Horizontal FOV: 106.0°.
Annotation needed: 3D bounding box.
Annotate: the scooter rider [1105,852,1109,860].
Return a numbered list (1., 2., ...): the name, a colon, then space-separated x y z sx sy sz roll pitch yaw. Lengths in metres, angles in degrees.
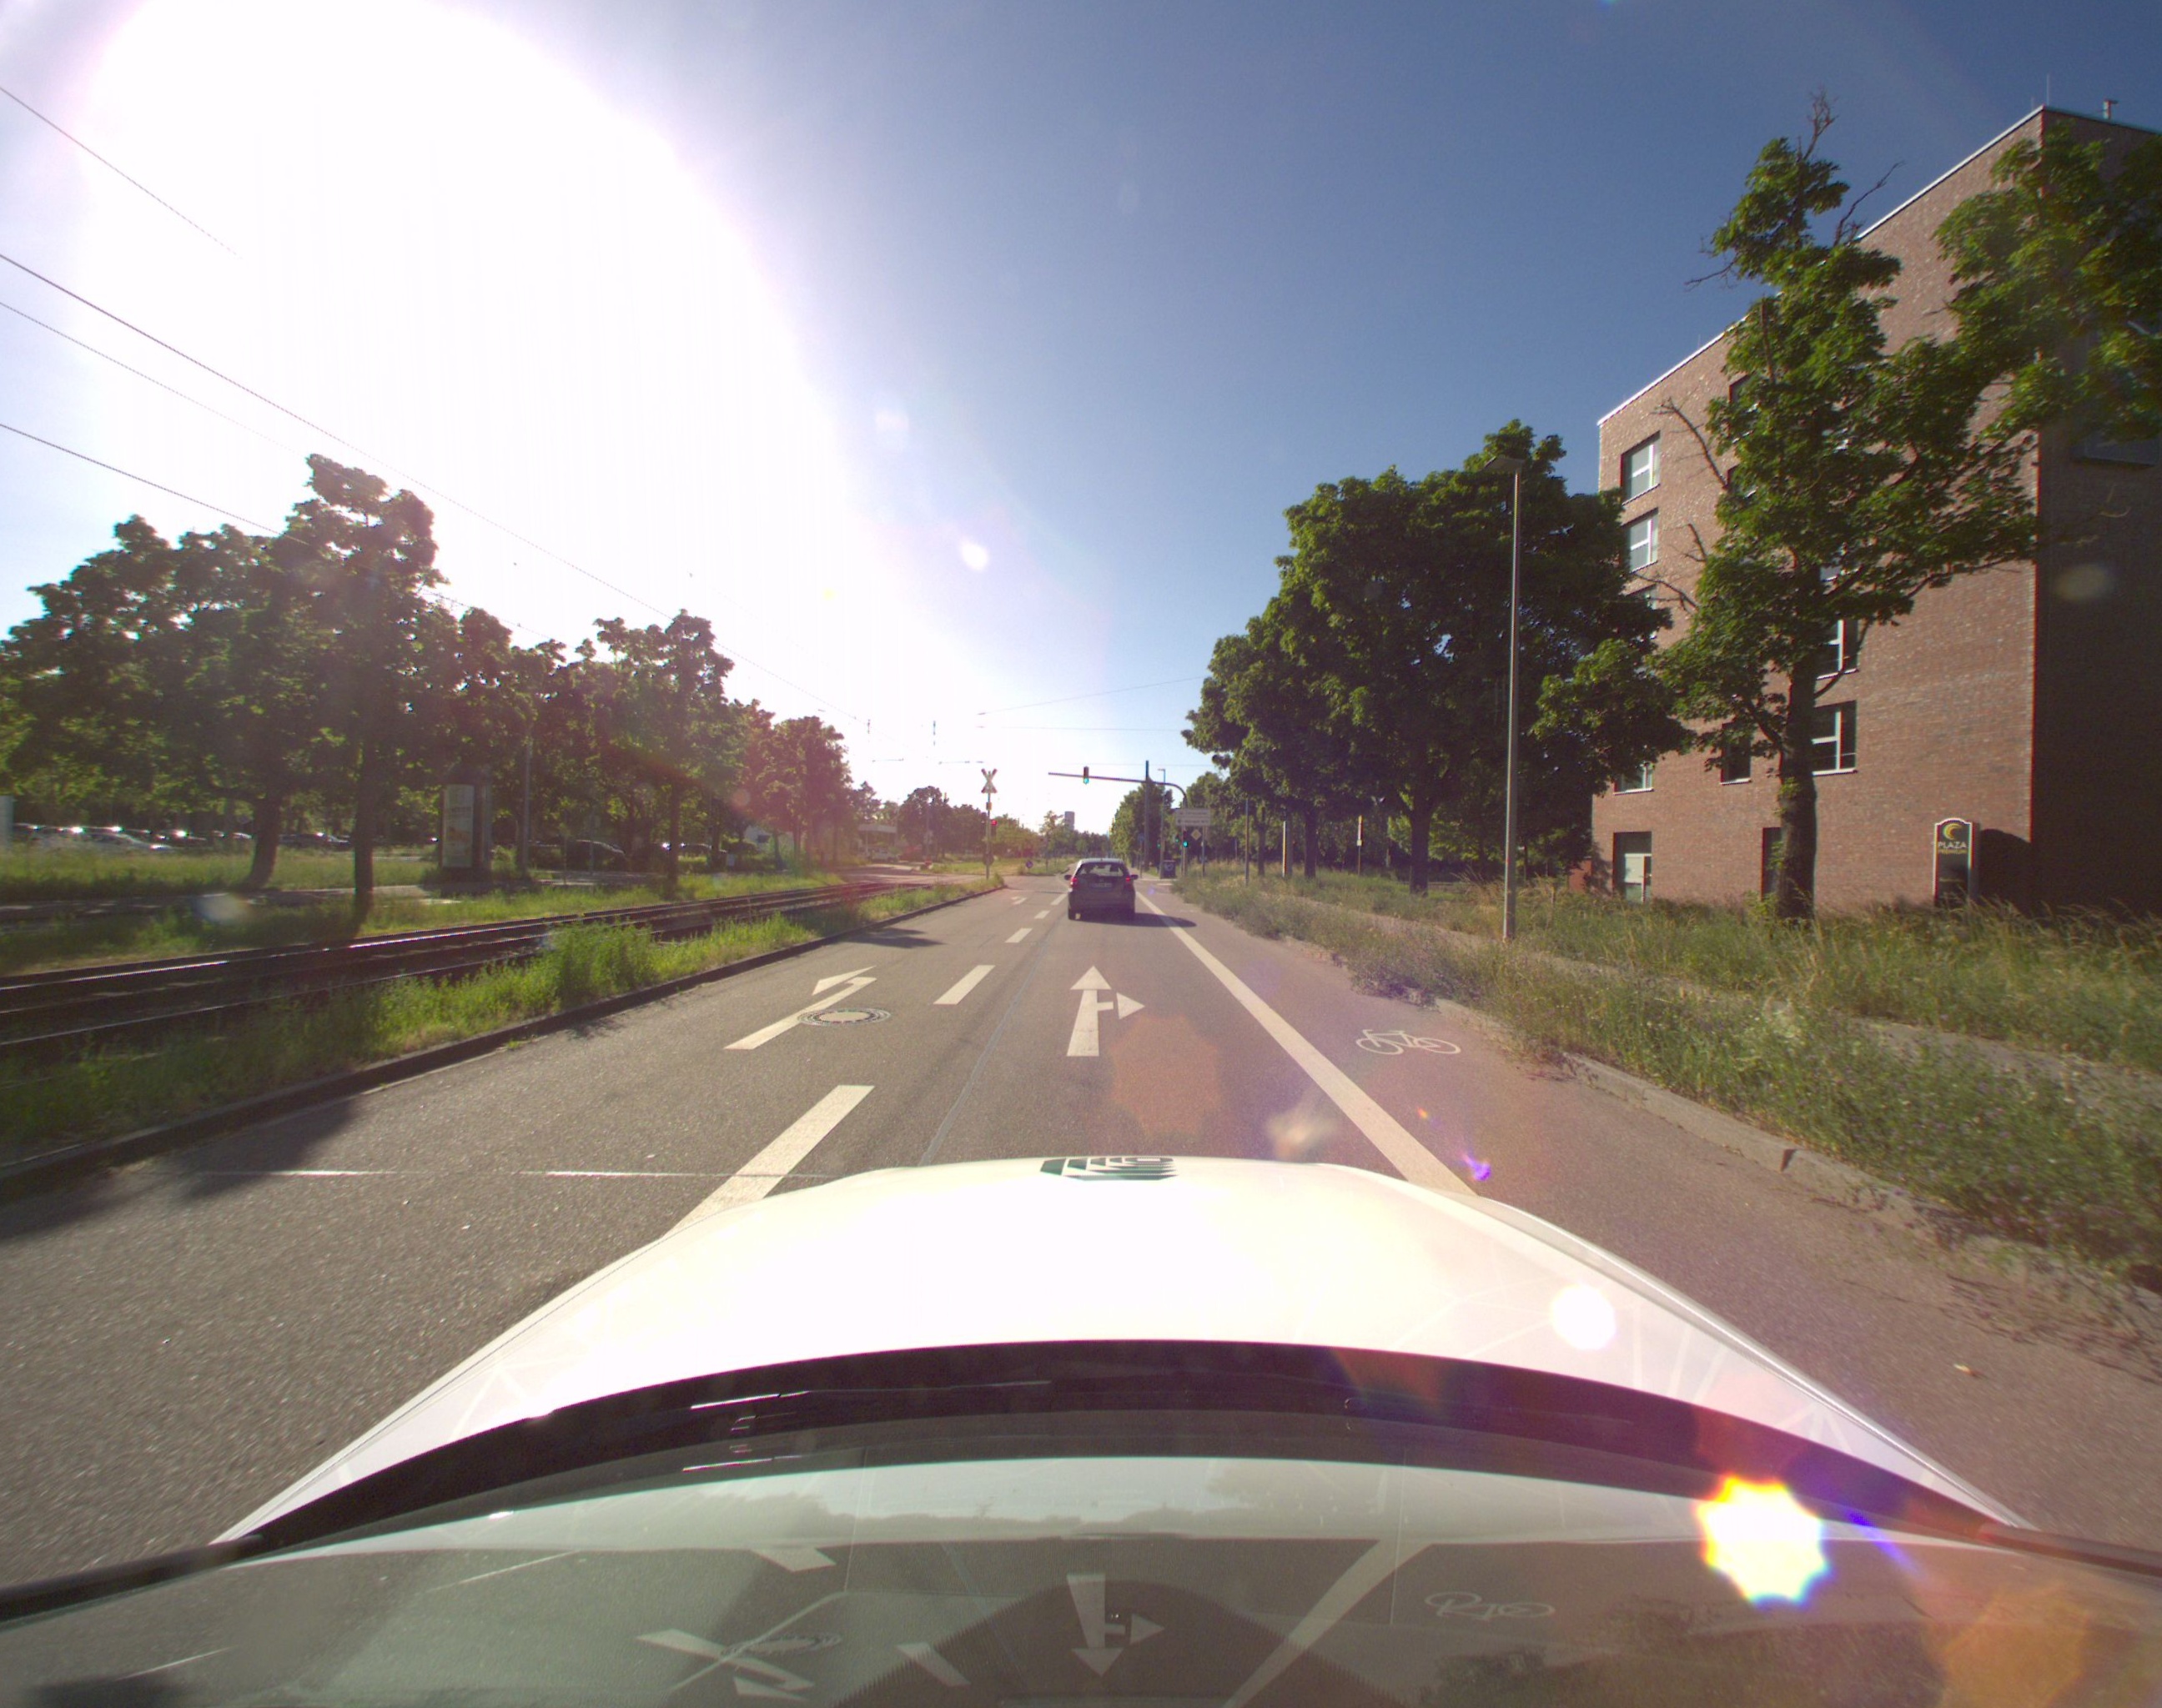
1. scooter rider: 5.907 0.483 183.842 0.714 1.901 0.934 1 -1 -2

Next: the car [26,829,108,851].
1. car: -82.817 -1.142 66.568 3.984 1.668 1.826 2 0 -8

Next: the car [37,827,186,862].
1. car: -49.154 -0.461 41.422 4.432 1.640 1.977 1 0 -21

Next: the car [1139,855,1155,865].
1. car: 9.757 0.879 120.694 1.770 1.386 3.866 0 0 -3

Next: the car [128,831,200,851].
1. car: -82.111 -1.122 72.944 3.984 1.668 1.826 2 0 -8

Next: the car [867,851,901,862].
1. car: -28.074 0.301 116.130 1.769 1.528 4.499 1 0 38

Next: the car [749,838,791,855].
1. car: -40.722 -0.942 106.815 4.707 2.091 2.020 1 0 -1

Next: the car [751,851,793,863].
1. car: -34.196 0.309 90.180 3.957 1.167 1.664 2 0 -4

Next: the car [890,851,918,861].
1. car: -27.880 0.304 128.271 4.060 1.568 1.791 1 0 -2

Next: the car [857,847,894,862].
1. car: -28.112 0.055 111.545 1.837 1.974 4.816 1 0 38

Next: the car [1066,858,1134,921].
1. car: 0.564 0.850 21.278 1.617 1.500 3.460 0 0 3

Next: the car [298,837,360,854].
1. car: -71.104 -0.813 77.040 3.958 1.449 1.743 2 0 -5

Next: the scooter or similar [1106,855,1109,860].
1. scooter or similar: 5.933 0.884 183.941 0.538 1.118 1.416 1 0 -1

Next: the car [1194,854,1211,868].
1. car: 17.943 1.047 120.465 1.866 1.966 5.166 2 0 0
